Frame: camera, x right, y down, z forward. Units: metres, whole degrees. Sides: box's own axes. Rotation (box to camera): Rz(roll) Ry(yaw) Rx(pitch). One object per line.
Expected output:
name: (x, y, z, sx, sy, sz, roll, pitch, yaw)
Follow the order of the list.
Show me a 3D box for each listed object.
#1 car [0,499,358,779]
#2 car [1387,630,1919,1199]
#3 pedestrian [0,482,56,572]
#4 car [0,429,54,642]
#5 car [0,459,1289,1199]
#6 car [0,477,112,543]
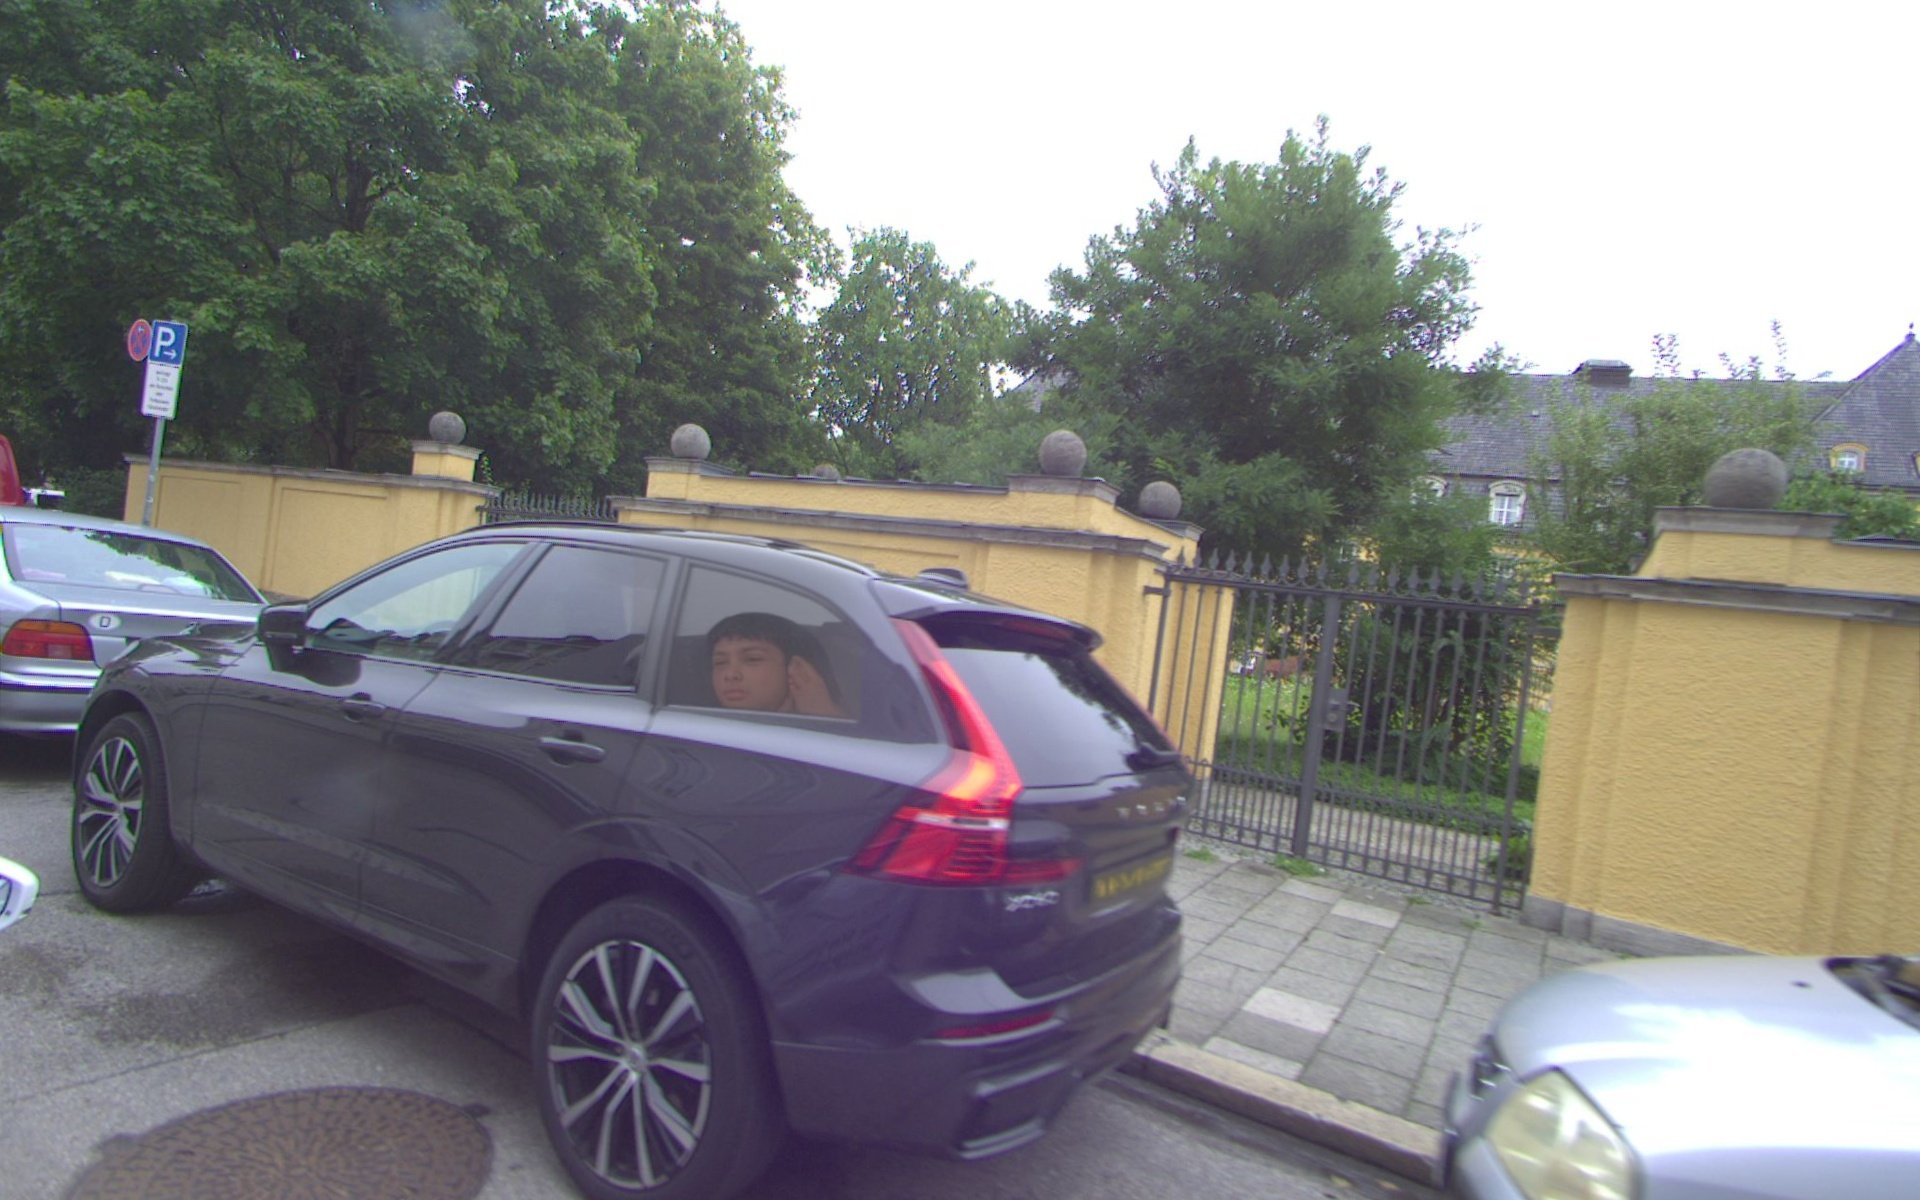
car: (-6.495, 0.071, 7.069, 4.294, 1.465, 1.890, 7, -2, 29)
car: (2.633, 1.100, 1.390, 3.629, 1.557, 1.488, 7, -2, 30)
pedestrian: (-15.480, -1.223, 16.271, 0.863, 1.354, 1.010, 7, 0, 35)
car: (-11.230, -0.916, 9.989, 4.806, 1.943, 1.878, 7, -2, 31)
car: (-1.465, 0.596, 3.842, 4.742, 1.671, 1.889, 7, -2, 30)
car: (-35.445, -3.504, 37.972, 1.802, 1.941, 4.849, 6, -1, 23)
